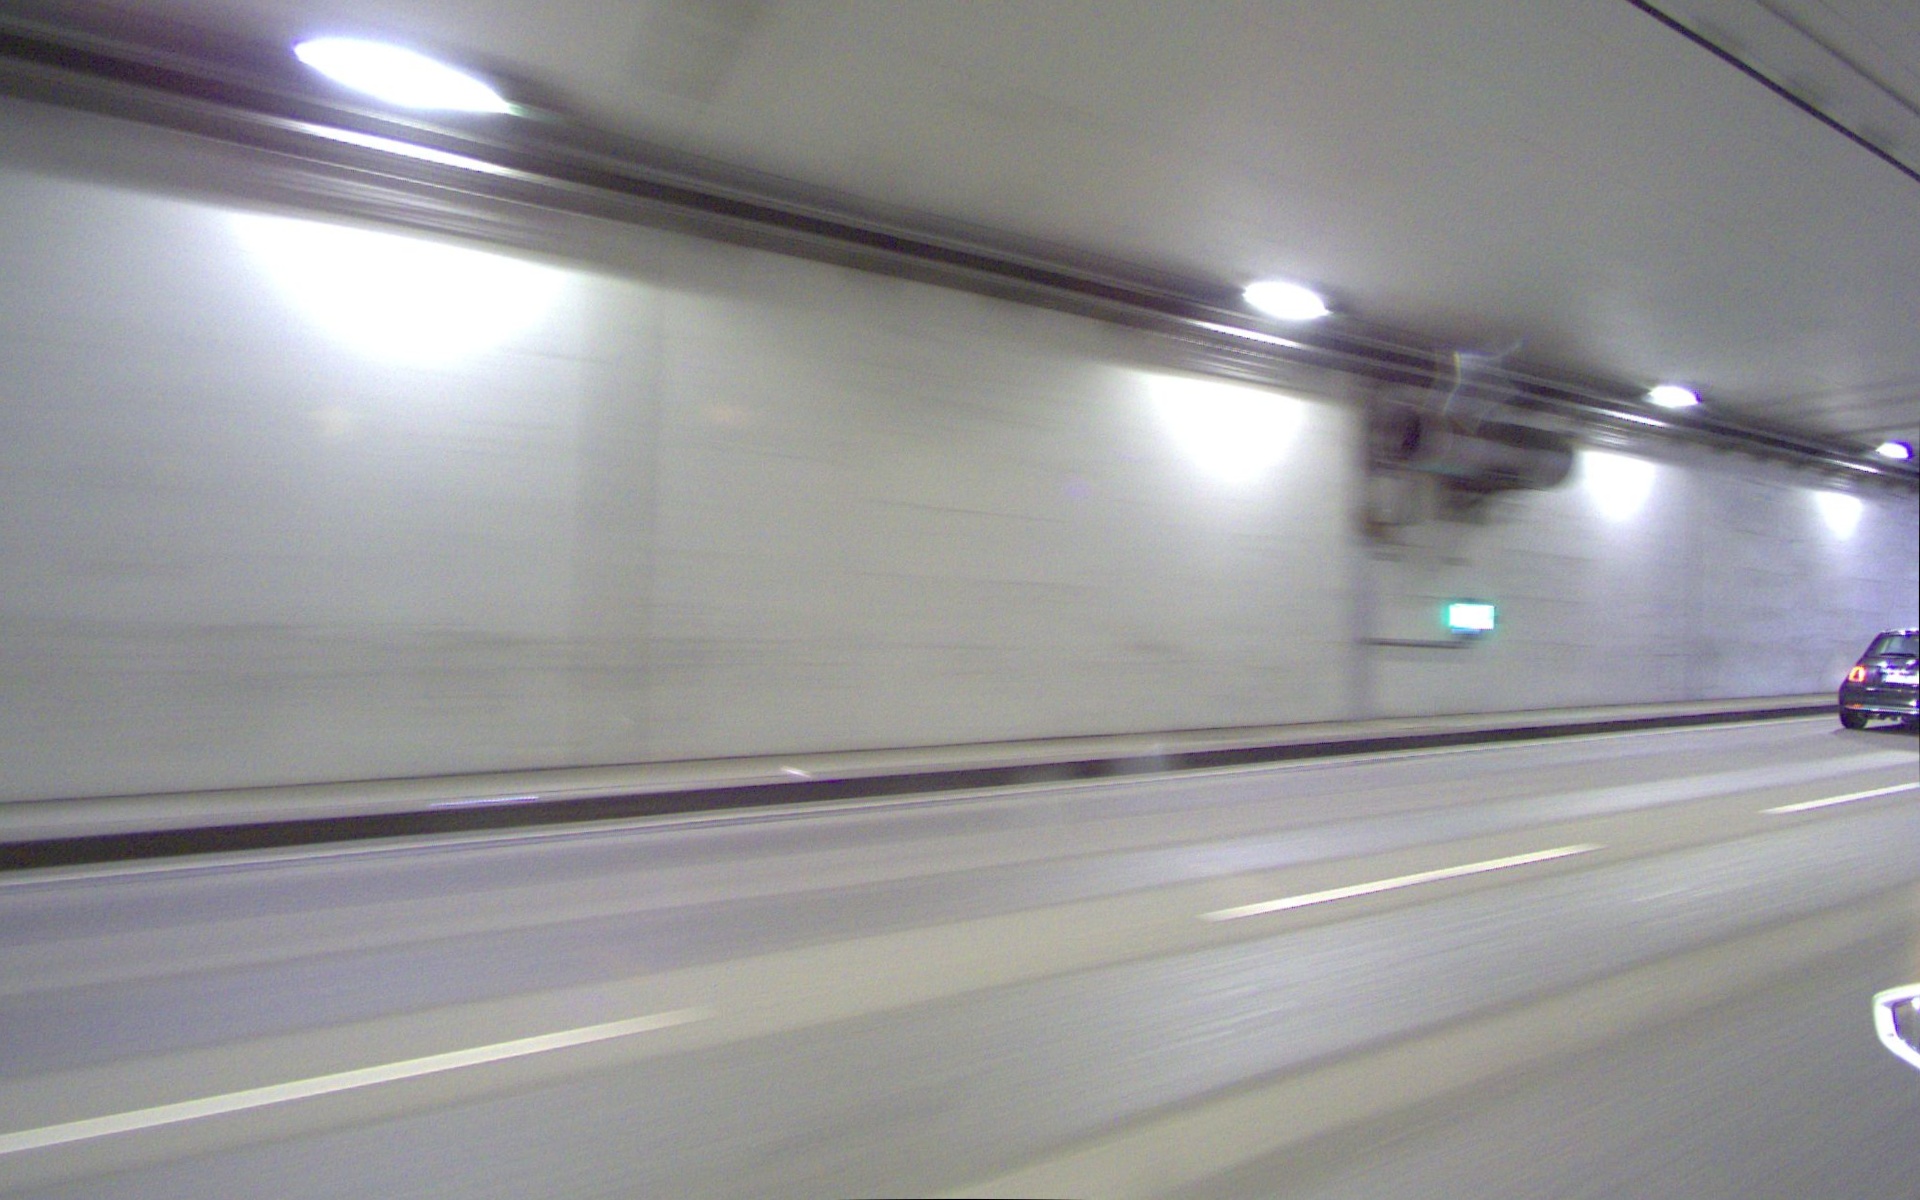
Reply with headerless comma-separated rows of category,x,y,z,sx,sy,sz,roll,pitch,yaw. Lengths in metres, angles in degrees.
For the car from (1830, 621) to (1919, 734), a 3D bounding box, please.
car,14.368,1.103,14.591,3.533,1.474,1.603,2,1,-32
